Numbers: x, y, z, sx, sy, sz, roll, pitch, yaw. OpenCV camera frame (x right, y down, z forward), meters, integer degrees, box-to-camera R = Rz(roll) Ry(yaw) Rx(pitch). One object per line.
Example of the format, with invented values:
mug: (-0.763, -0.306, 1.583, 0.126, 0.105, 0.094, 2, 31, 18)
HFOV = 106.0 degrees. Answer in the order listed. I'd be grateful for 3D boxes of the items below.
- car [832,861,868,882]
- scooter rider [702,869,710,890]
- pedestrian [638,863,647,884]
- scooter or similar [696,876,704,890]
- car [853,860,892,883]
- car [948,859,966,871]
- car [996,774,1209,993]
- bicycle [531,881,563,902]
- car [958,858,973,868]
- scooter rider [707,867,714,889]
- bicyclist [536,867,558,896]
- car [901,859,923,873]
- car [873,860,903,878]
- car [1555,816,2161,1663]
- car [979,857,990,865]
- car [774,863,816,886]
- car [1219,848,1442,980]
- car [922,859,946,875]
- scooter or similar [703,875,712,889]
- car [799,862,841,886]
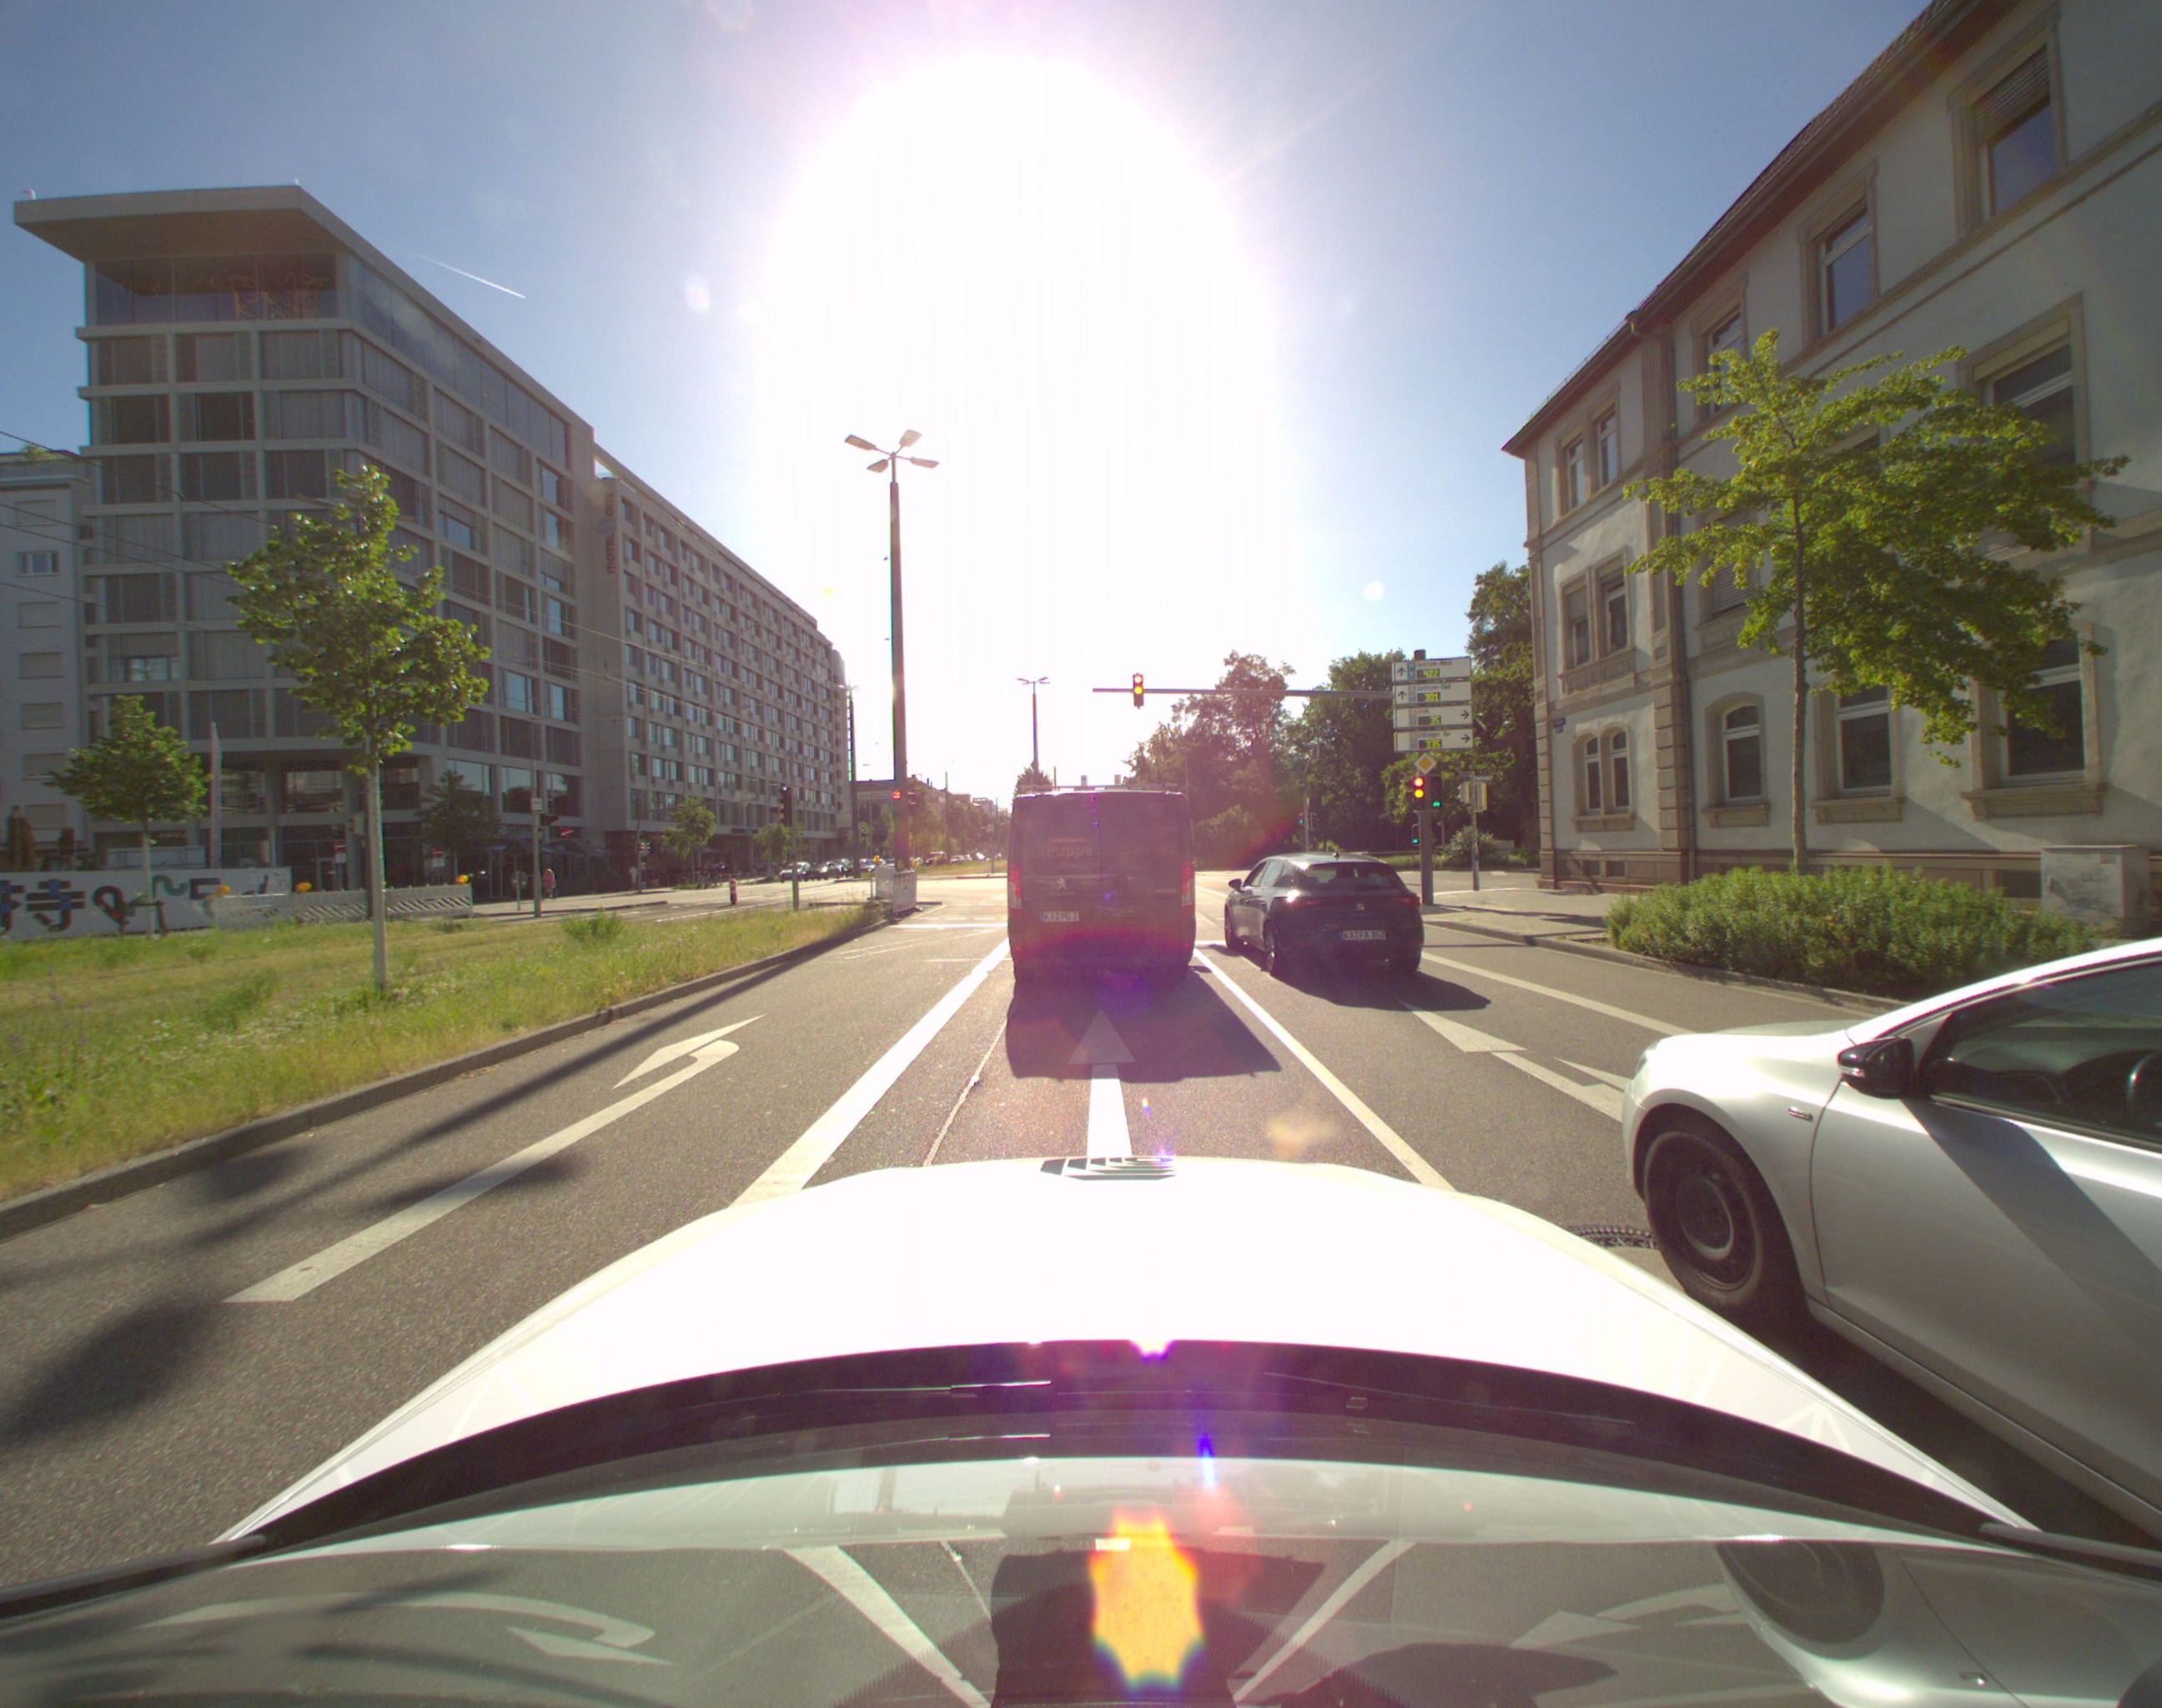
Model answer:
car: (-20.041, 1.503, 70.736, 1.783, 1.651, 4.002, -2, 0, 2)
scooter rider: (-26.389, 1.768, 57.317, 0.341, 1.453, 0.239, -2, 0, 1)
pedestrian: (-31.167, 1.386, 57.866, 0.415, 1.494, 0.343, -2, 0, 1)
scooter or similar: (-26.779, 2.041, 57.263, 0.285, 0.947, 0.766, -2, 0, -6)
car: (-16.562, 1.381, 64.925, 1.783, 1.651, 4.337, -2, 0, 2)
car: (-18.009, 1.606, 118.322, 1.783, 1.651, 4.002, -2, 0, 2)
car: (0.243, 0.281, 10.769, 2.211, 2.267, 4.484, -1, 1, 0)
bicycle: (-29.658, 2.047, 45.241, 0.584, 1.100, 1.625, 0, 0, 5)
car: (-19.312, 1.467, 135.916, 1.783, 1.651, 4.002, -2, 0, 2)
scooter rider: (-25.830, 1.670, 56.788, 0.341, 1.453, 0.239, -2, 0, 1)
bicyclist: (-29.632, 1.534, 45.193, 0.590, 1.580, 0.894, 0, -1, 5)
car: (-21.954, 1.538, 106.050, 1.783, 1.651, 4.002, -2, 0, 2)
car: (-19.329, 1.467, 81.736, 1.783, 1.651, 4.002, -2, 0, 2)
car: (2.807, 0.682, 1.418, 1.743, 1.527, 4.007, -1, 0, 2)
car: (-20.876, 1.468, 175.868, 1.783, 1.651, 4.002, -2, 0, 2)
car: (-22.765, 1.605, 64.961, 1.783, 1.651, 4.002, -2, 0, 2)
car: (3.067, 0.656, 10.860, 1.786, 1.428, 3.849, -1, 0, 0)
car: (-16.521, 1.447, 91.610, 1.783, 1.651, 4.002, -2, 0, 2)
scooter or similar: (-26.023, 1.935, 56.702, 0.227, 0.947, 0.768, -2, 0, 2)
car: (-20.010, 1.535, 62.566, 1.783, 1.651, 4.002, -2, 0, 2)
